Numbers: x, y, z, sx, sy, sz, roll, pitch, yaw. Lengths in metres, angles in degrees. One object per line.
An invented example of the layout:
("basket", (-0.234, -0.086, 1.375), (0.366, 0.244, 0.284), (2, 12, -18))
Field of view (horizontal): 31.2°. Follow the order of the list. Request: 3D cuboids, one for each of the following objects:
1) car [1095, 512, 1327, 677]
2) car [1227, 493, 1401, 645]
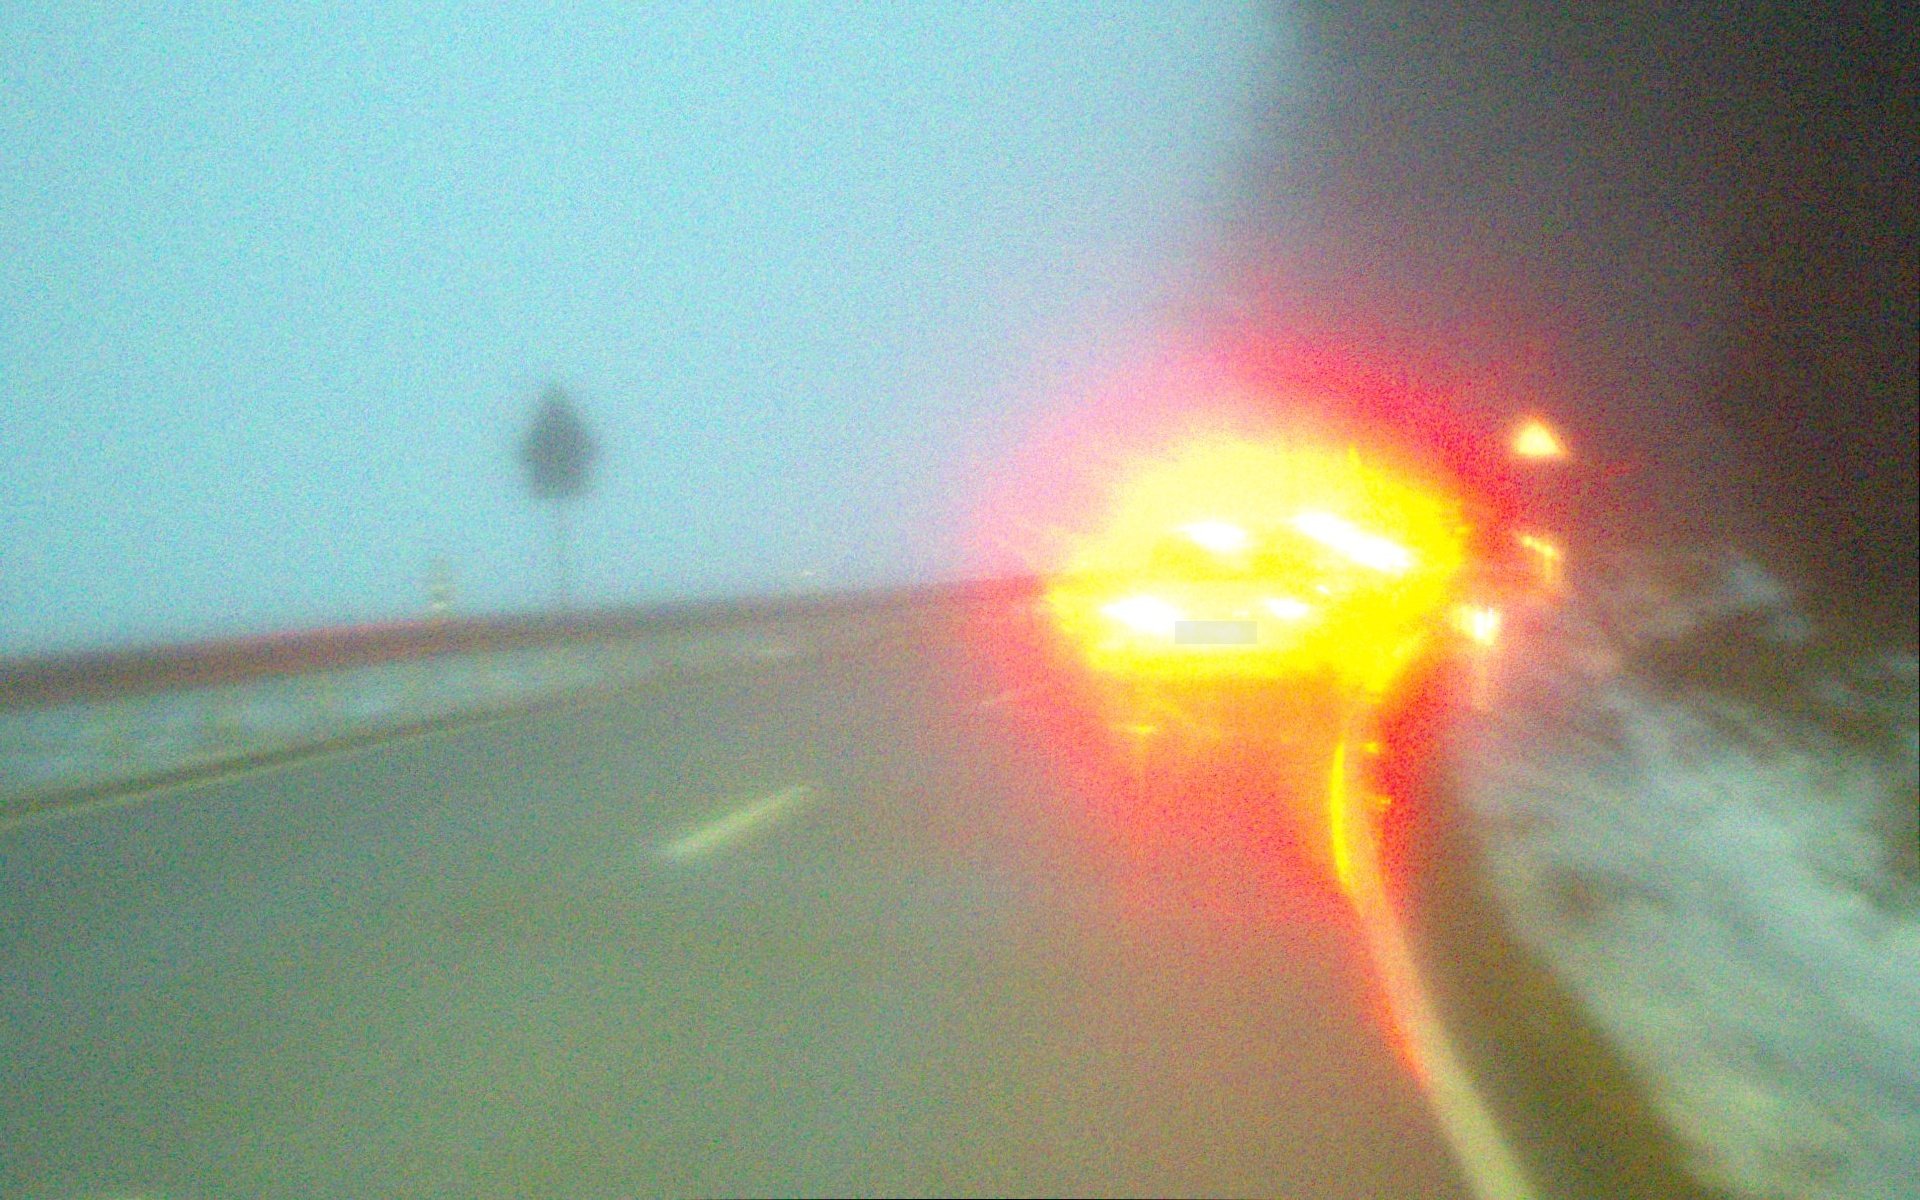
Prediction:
("car", (2.345, -0.080, 31.265), (1.946, 1.376, 3.999), (1, 1, 6))
("car", (4.321, -0.406, 42.460), (1.994, 1.776, 4.000), (0, 1, 4))
